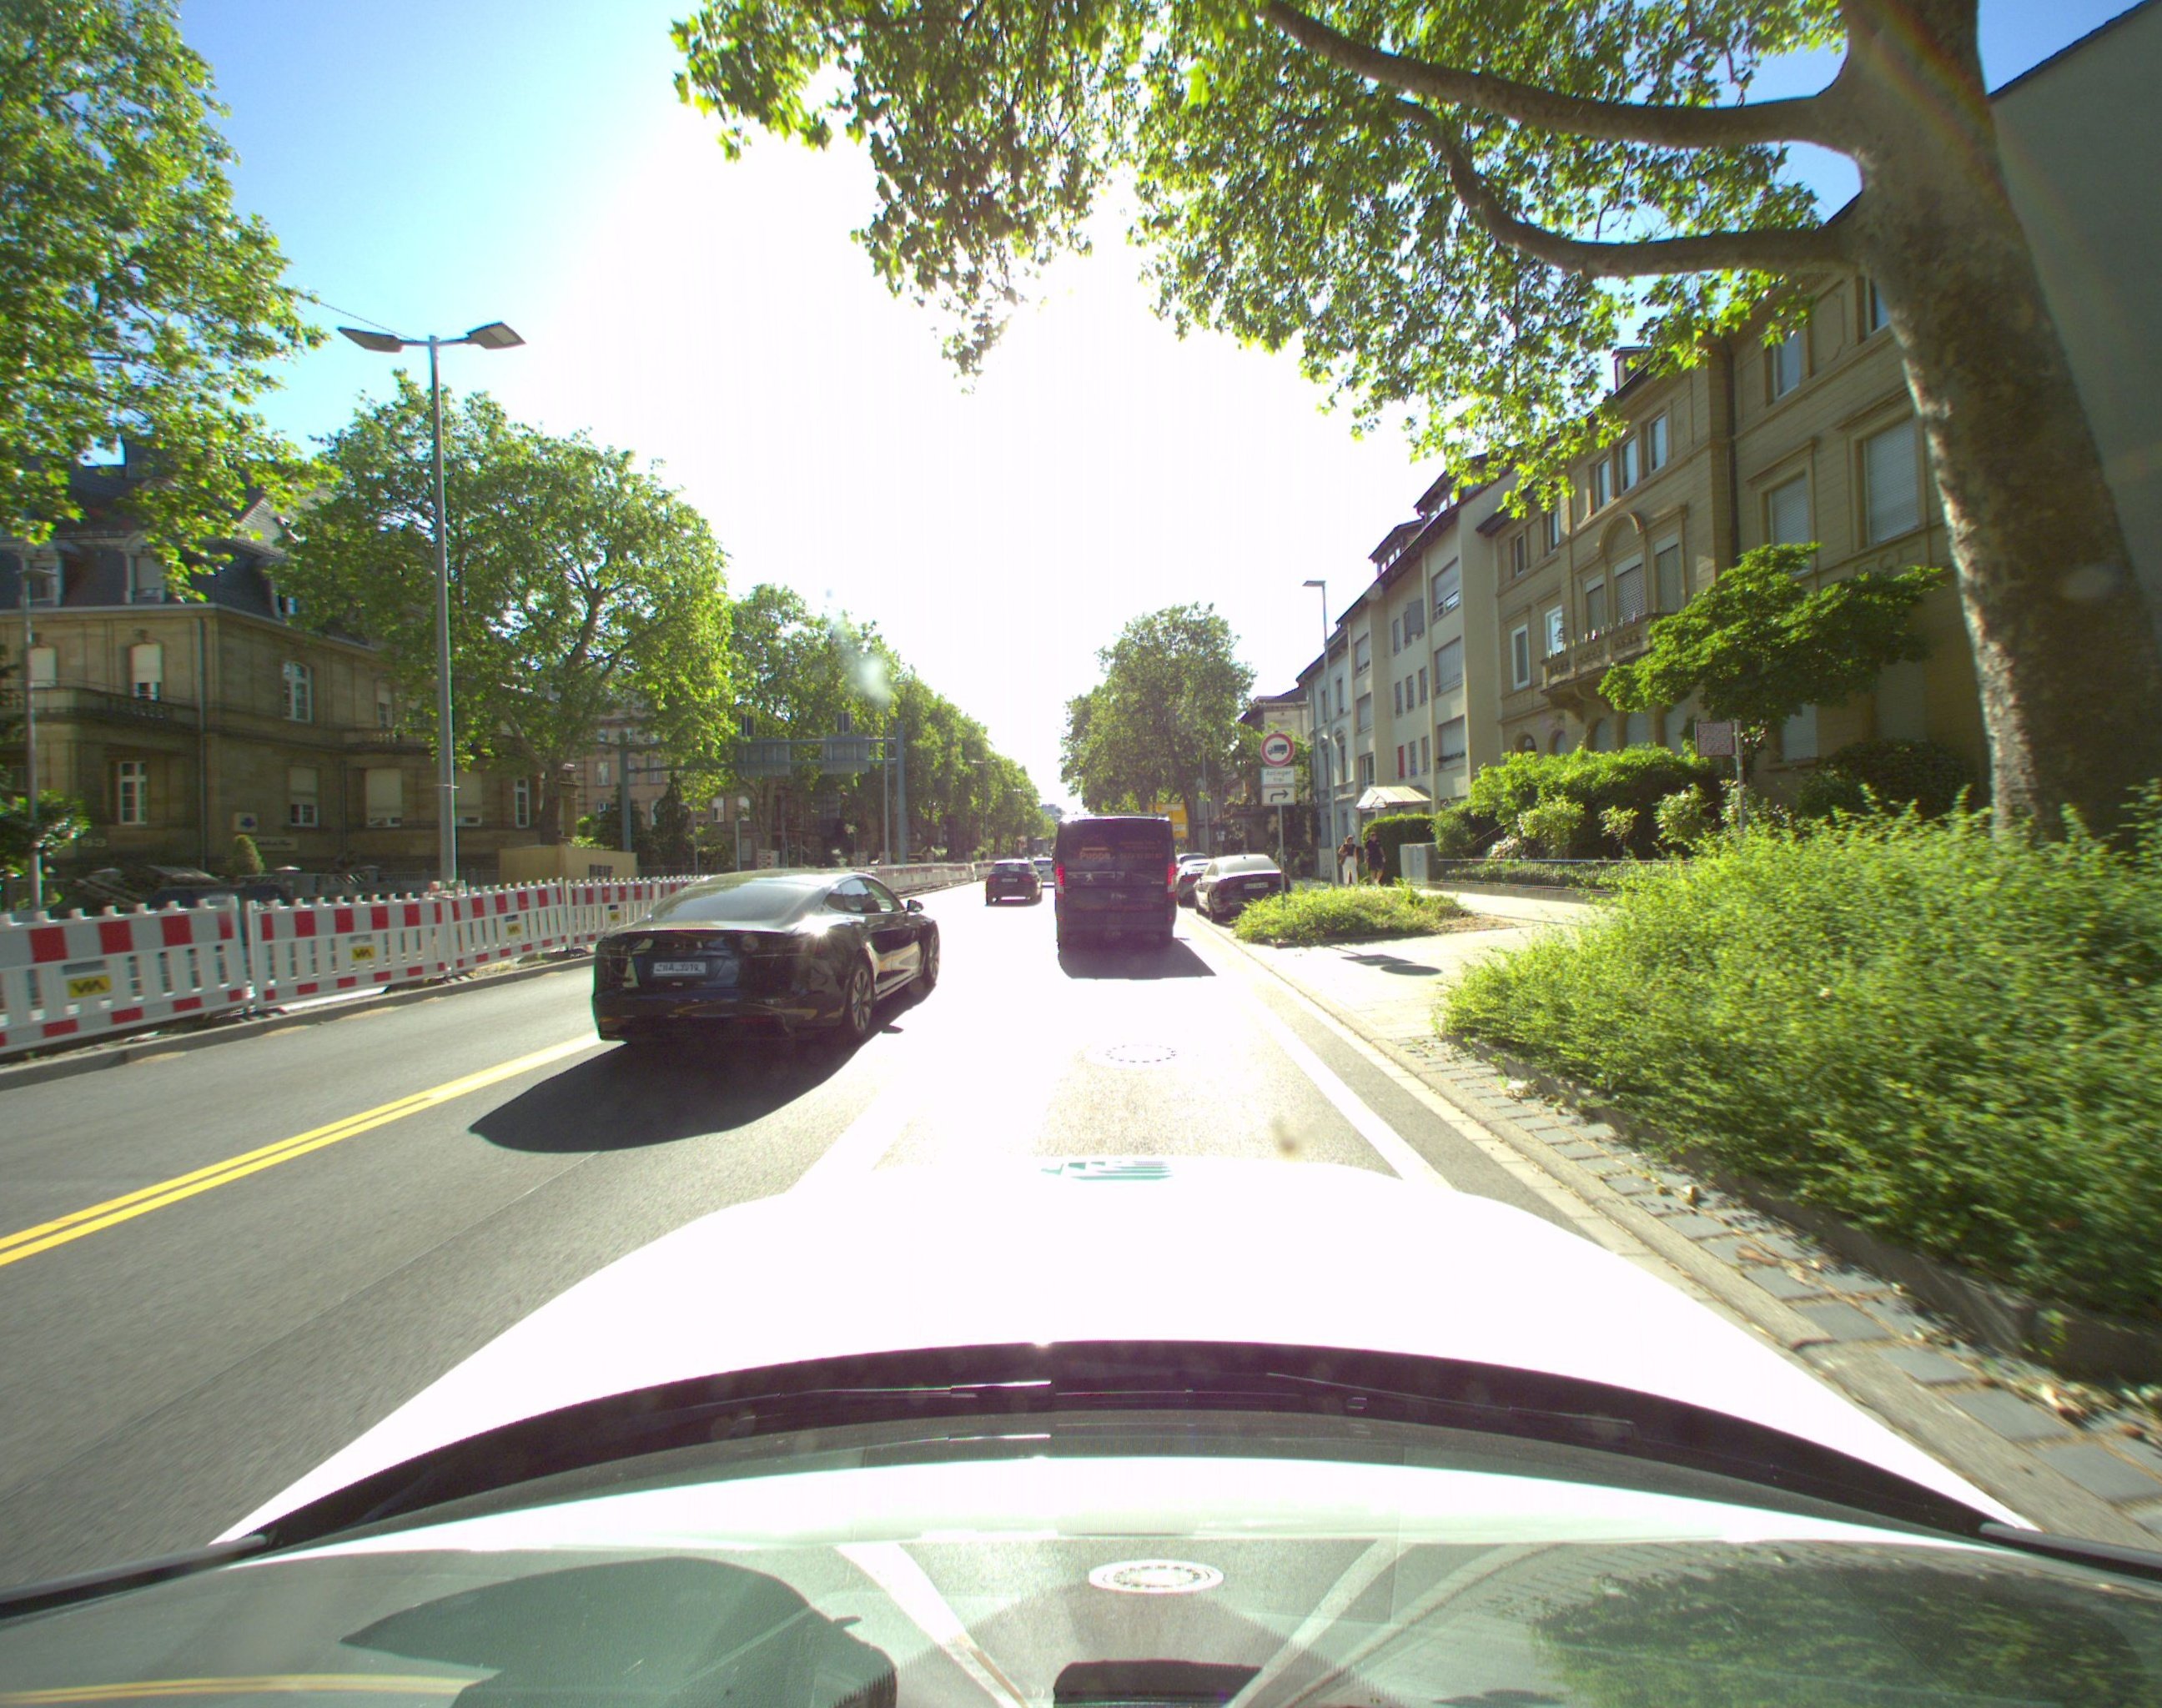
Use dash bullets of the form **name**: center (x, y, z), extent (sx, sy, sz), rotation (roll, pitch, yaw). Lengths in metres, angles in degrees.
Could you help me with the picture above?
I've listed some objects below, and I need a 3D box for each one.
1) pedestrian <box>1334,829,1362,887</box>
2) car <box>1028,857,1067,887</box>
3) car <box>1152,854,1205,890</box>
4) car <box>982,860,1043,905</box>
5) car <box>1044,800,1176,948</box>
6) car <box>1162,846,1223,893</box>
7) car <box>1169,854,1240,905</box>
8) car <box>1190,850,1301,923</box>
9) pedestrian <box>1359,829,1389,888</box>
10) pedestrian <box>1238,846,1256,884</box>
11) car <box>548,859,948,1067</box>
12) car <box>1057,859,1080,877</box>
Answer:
- **pedestrian**: center (8.259, 0.118, 25.217), extent (0.671, 1.755, 0.877), rotation (-3, -1, 11)
- **car**: center (-1.691, 0.885, 41.779), extent (1.541, 1.425, 3.559), rotation (-2, 0, 4)
- **car**: center (4.255, 0.765, 36.197), extent (1.838, 1.408, 3.800), rotation (-4, 0, 0)
- **car**: center (-2.260, 0.910, 27.959), extent (1.740, 1.407, 3.999), rotation (0, 0, 0)
- **car**: center (0.490, 0.304, 15.065), extent (2.088, 2.355, 3.933), rotation (-1, 0, 1)
- **car**: center (4.366, 0.582, 32.298), extent (1.838, 1.644, 3.800), rotation (-3, 0, 0)
- **car**: center (3.786, 0.754, 25.518), extent (1.836, 1.408, 3.804), rotation (-2, 0, 4)
- **car**: center (3.750, 0.693, 19.345), extent (1.837, 1.442, 4.489), rotation (-2, 0, 2)
- **pedestrian**: center (8.978, 0.124, 24.991), extent (0.649, 1.755, 1.016), rotation (-3, -1, 11)
- **pedestrian**: center (9.008, 0.599, 44.211), extent (0.794, 2.013, 1.170), rotation (-2, -1, 6)
- **car**: center (-2.729, 0.782, 8.047), extent (1.918, 1.412, 4.628), rotation (0, 0, 2)
- **car**: center (-0.859, 0.972, 58.330), extent (1.415, 1.225, 3.440), rotation (-2, 0, 3)
